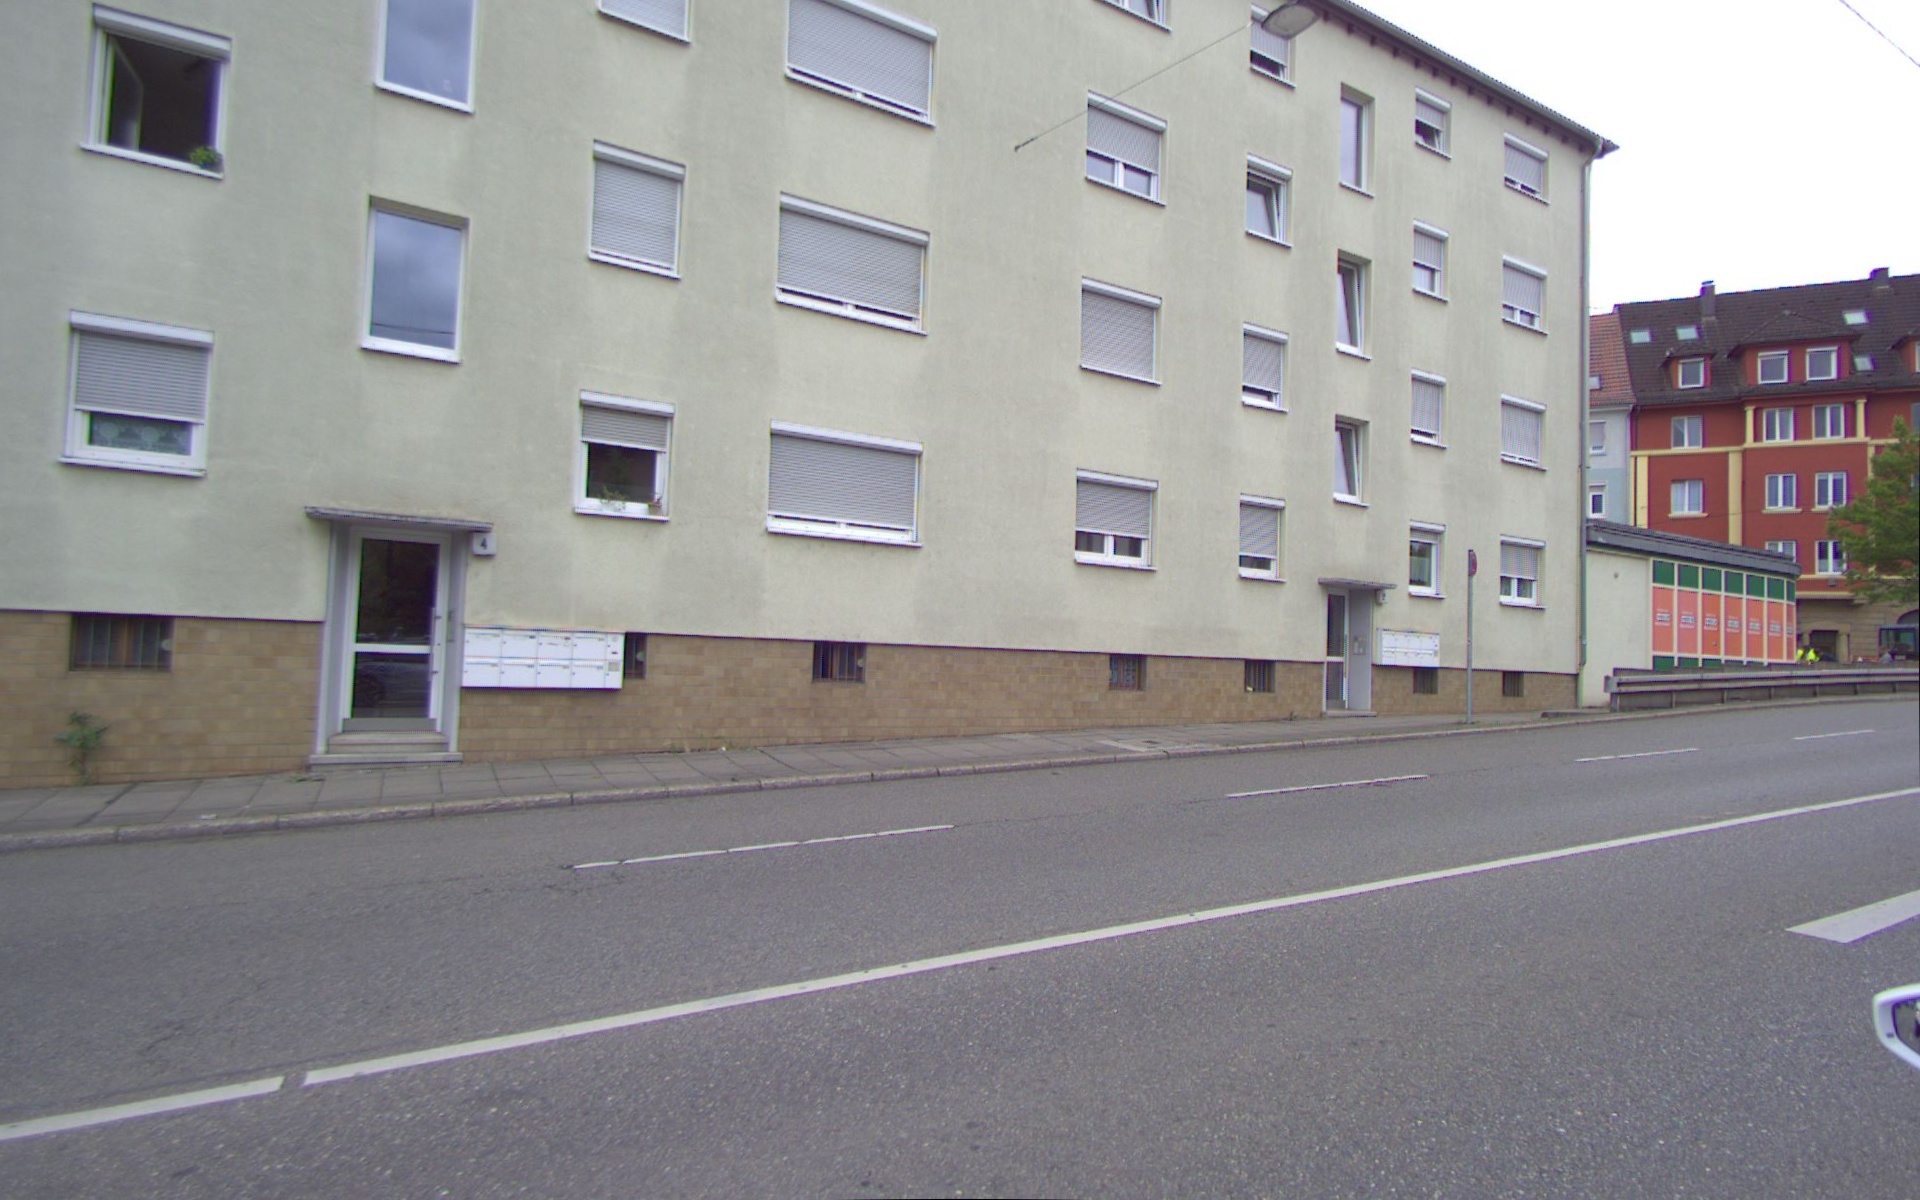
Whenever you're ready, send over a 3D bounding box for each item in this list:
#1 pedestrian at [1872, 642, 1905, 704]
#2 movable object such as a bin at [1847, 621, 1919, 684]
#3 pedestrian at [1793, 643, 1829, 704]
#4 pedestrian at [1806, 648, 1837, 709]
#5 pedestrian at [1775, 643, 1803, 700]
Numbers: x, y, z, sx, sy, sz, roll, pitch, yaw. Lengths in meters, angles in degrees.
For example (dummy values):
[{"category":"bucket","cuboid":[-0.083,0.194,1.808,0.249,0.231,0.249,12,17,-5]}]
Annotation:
[{"category":"pedestrian","cuboid":[26.996,2.104,29.197,0.533,1.753,0.592,2,0,29]},{"category":"movable object such as a bin","cuboid":[29.251,1.619,31.275,3.968,1.794,1.886,2,0,-41]},{"category":"pedestrian","cuboid":[26.039,2.236,30.740,0.605,1.785,0.573,2,0,8]},{"category":"pedestrian","cuboid":[25.311,2.300,29.515,0.538,1.722,0.558,2,0,-38]},{"category":"pedestrian","cuboid":[26.210,2.259,31.779,0.467,1.753,0.543,2,0,17]}]
